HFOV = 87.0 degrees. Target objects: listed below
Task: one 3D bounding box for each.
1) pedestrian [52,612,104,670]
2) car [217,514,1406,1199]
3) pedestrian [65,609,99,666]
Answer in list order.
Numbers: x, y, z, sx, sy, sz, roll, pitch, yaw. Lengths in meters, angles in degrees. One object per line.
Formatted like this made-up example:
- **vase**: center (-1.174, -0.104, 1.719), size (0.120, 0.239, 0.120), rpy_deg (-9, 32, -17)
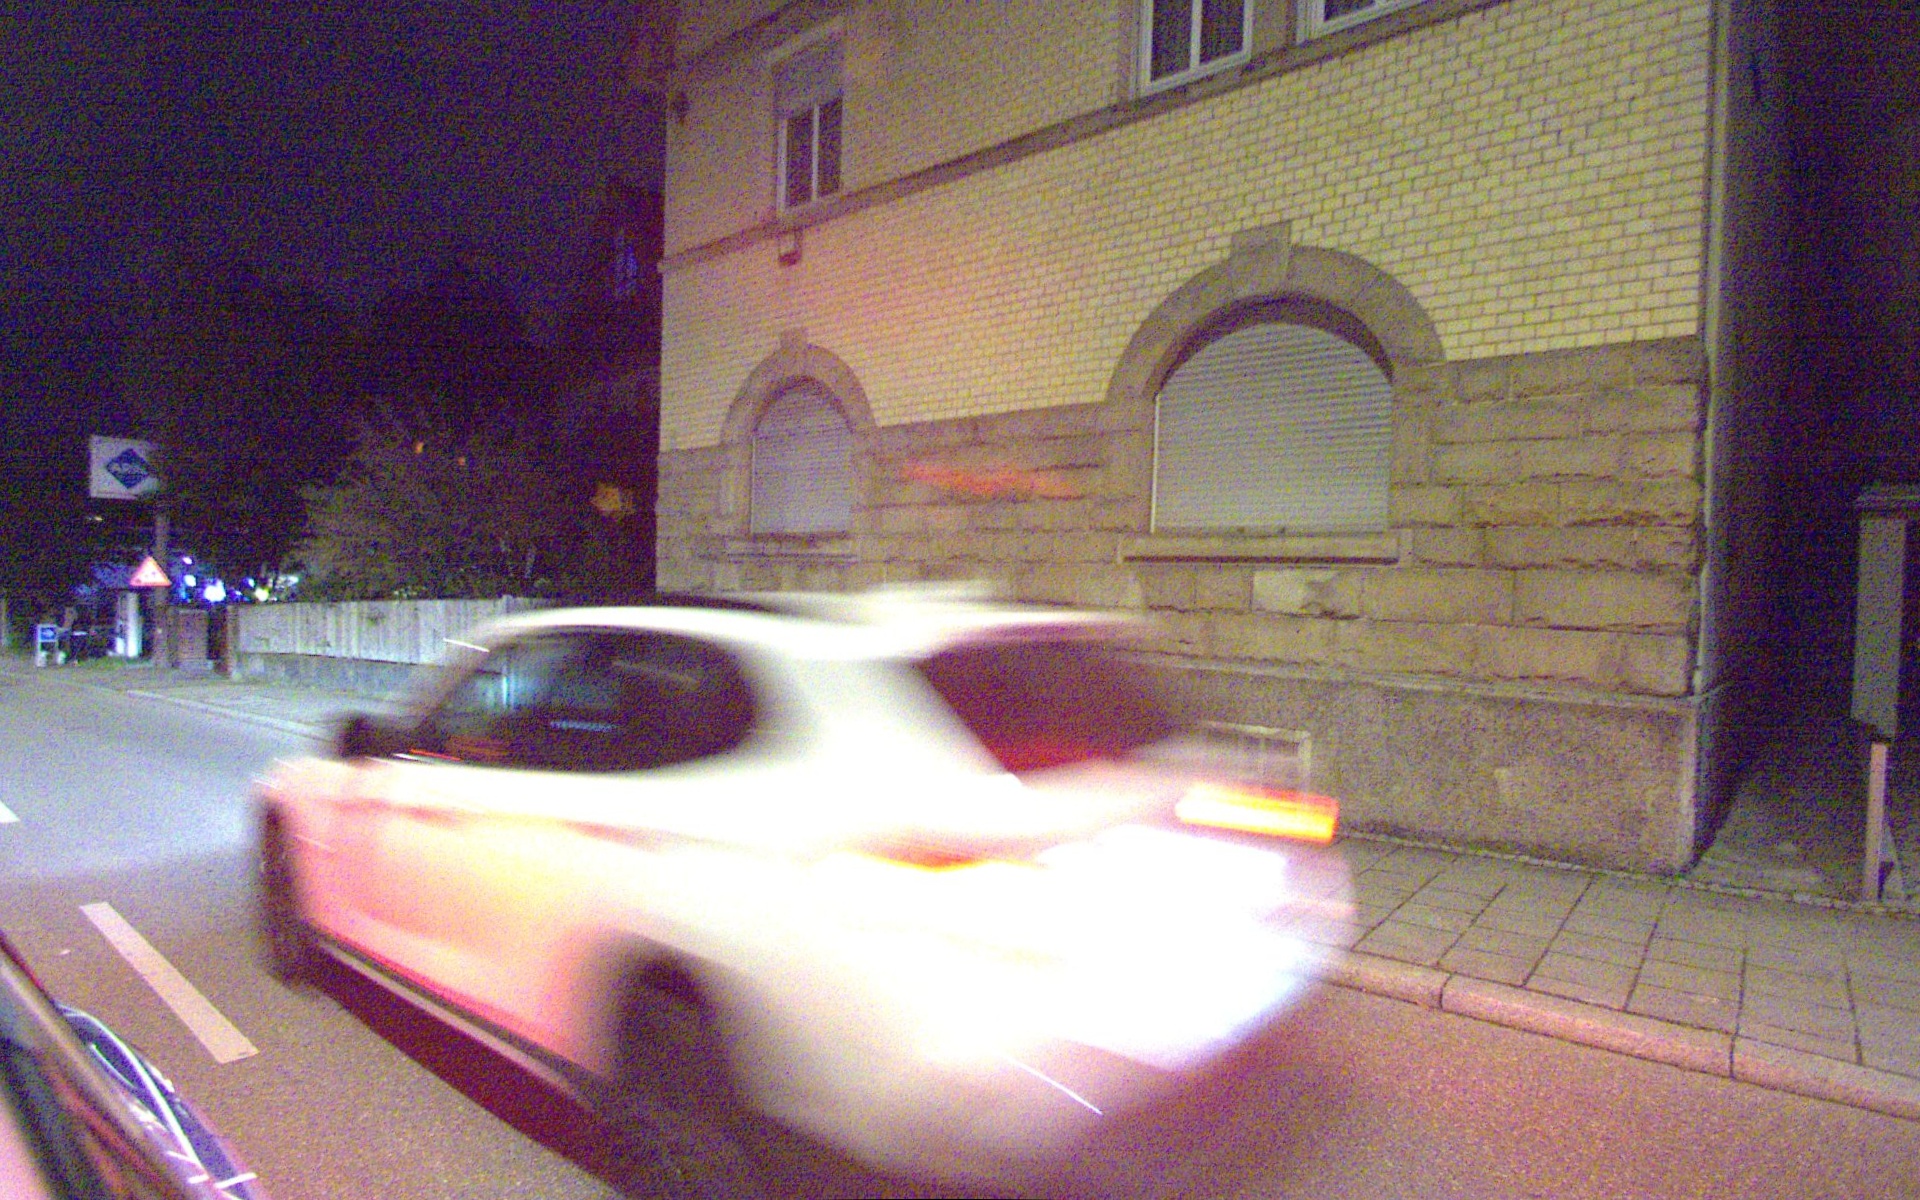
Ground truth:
- **pedestrian**: center (-26.692, 1.228, 30.653), size (0.732, 1.684, 1.105), rpy_deg (0, 0, -10)
- **car**: center (-0.881, 0.673, 3.450), size (4.026, 1.546, 1.838), rpy_deg (-1, 0, 41)
- **pedestrian**: center (-27.537, 1.169, 31.731), size (0.865, 1.739, 0.662), rpy_deg (-1, -1, 38)
